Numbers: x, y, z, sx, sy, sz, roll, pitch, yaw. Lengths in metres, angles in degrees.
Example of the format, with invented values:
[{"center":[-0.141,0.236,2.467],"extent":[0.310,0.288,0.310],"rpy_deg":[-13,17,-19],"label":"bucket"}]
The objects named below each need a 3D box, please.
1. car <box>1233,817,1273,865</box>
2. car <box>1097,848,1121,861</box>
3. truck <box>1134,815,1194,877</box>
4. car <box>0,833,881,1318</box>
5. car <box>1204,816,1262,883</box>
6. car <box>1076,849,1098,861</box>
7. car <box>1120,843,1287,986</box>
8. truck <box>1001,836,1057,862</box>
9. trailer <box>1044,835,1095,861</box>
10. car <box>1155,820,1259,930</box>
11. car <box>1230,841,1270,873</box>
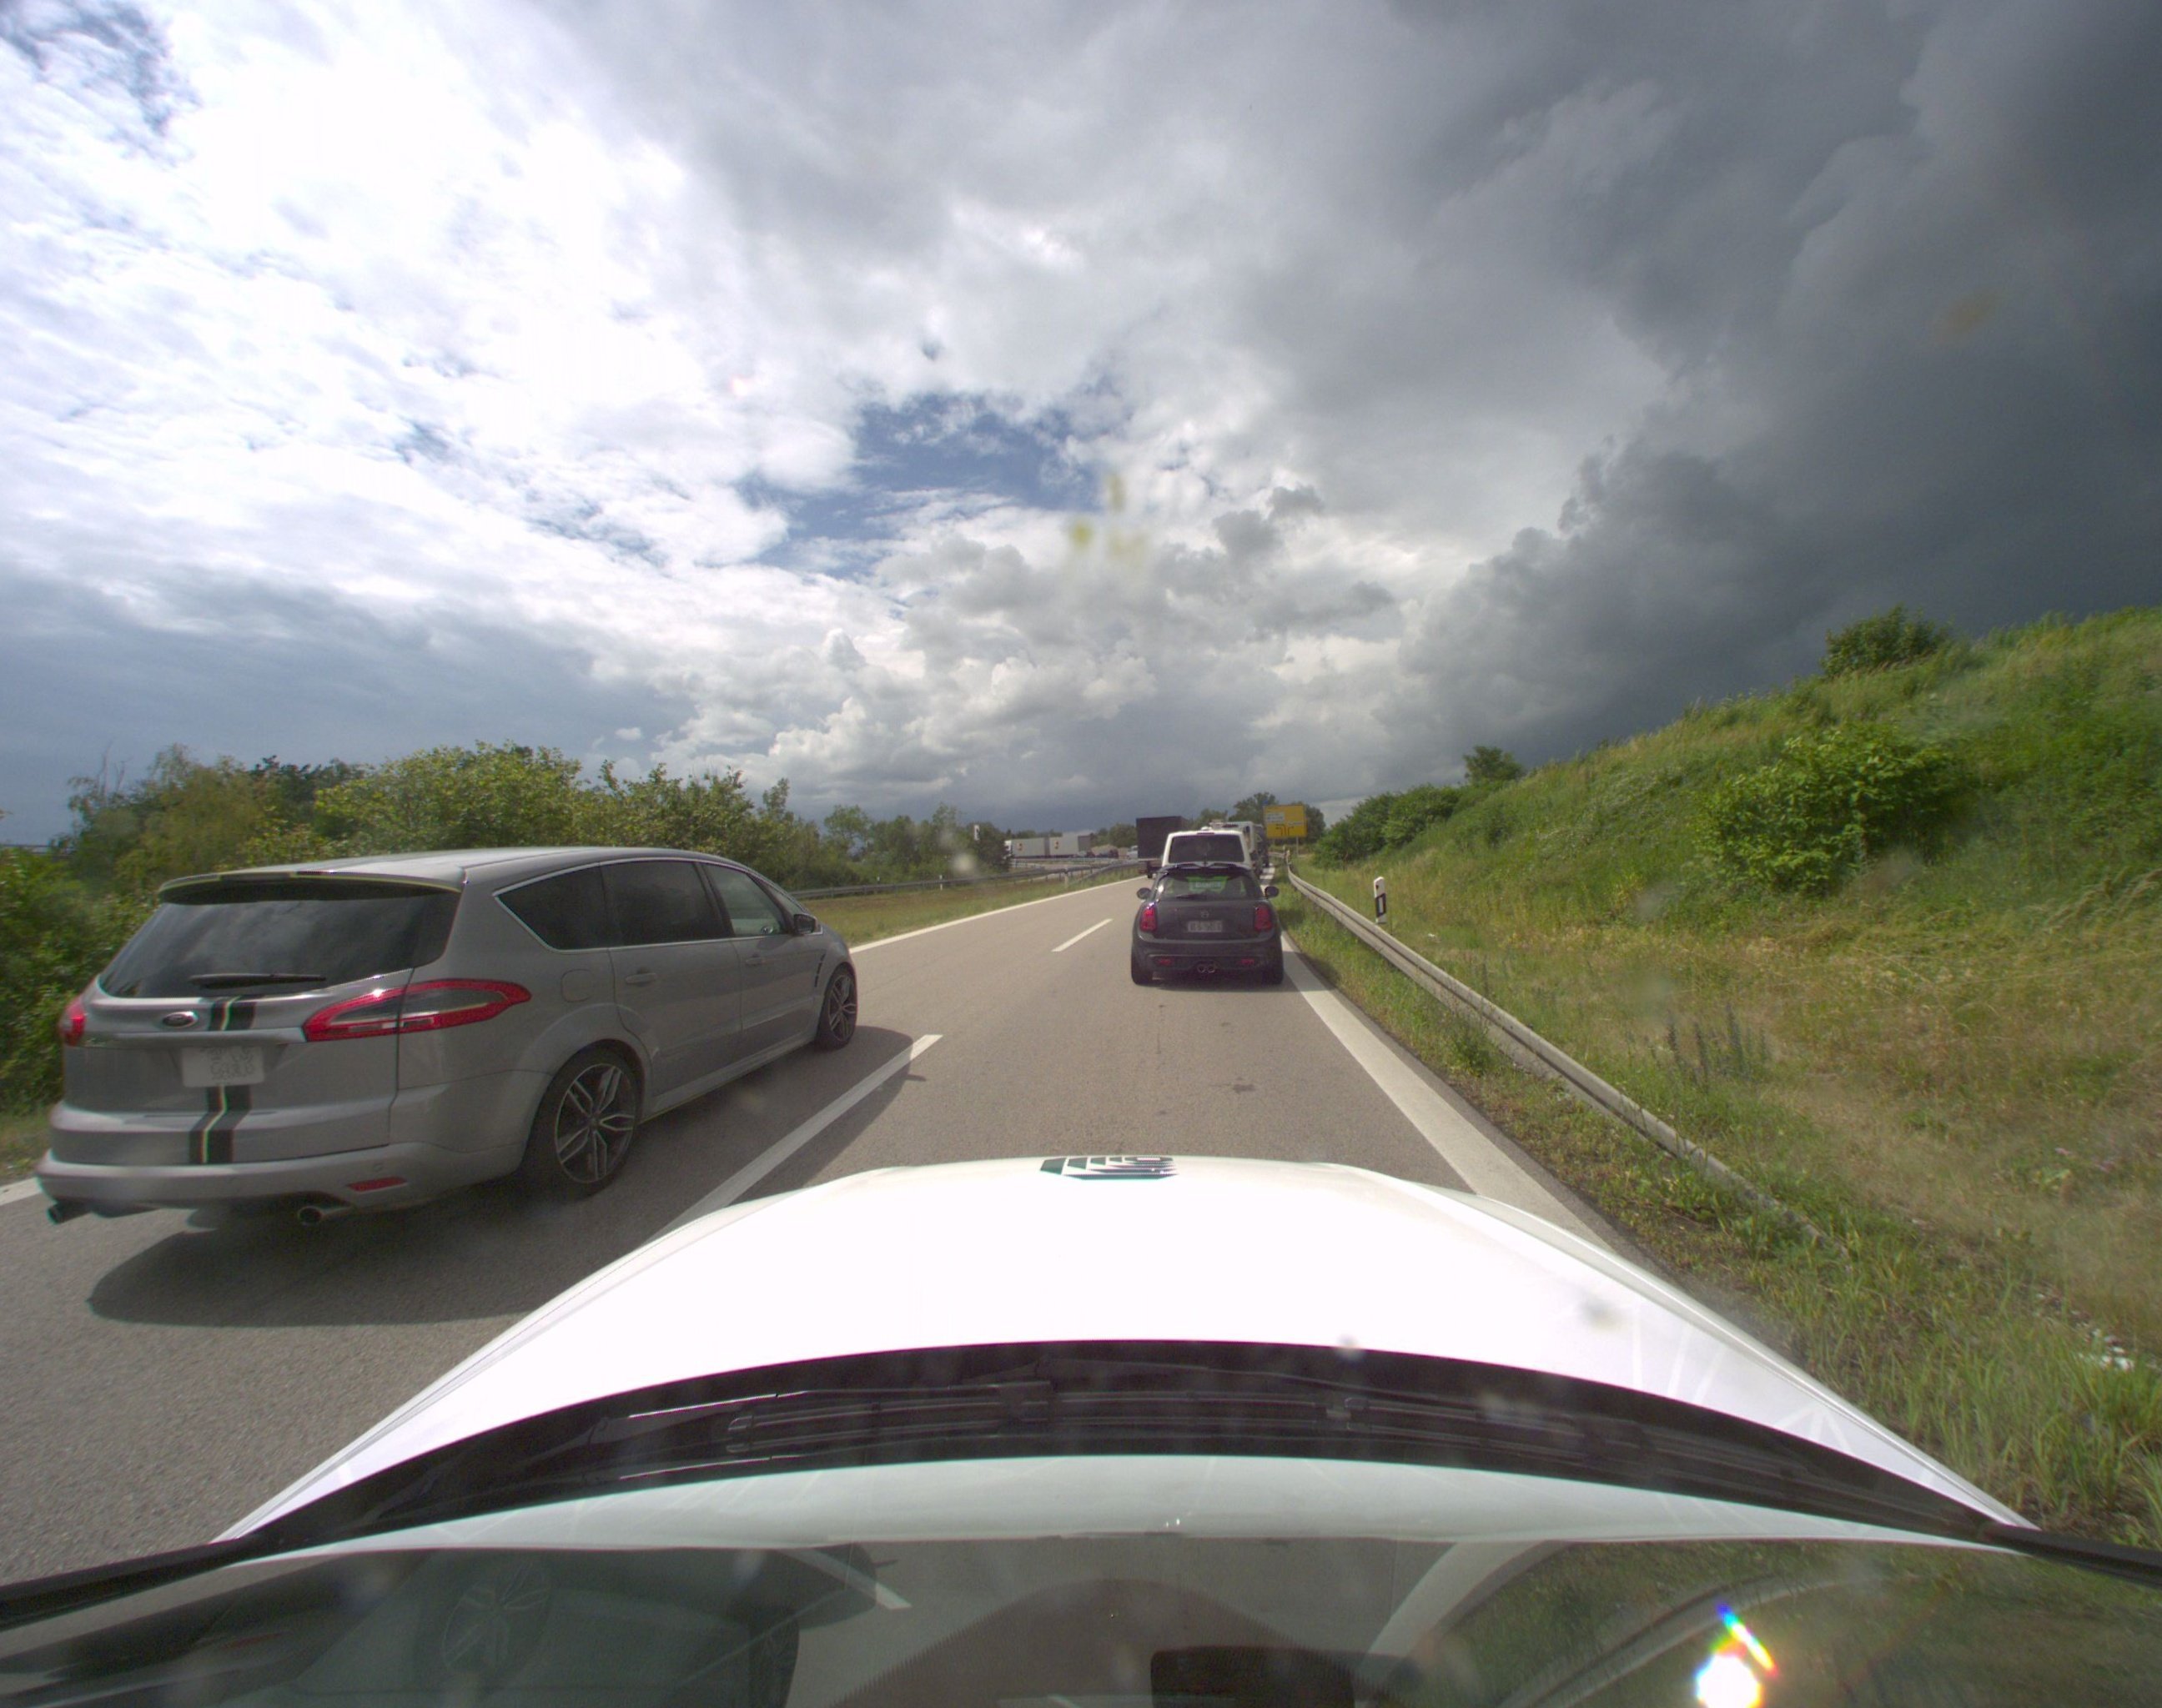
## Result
[{"center":[11.796,-0.807,55.488],"extent":[2.294,3.069,6.688],"rpy_deg":[-1,-1,15],"label":"car"},{"center":[4.189,0.060,122.343],"extent":[1.930,1.838,4.283],"rpy_deg":[0,-1,-24],"label":"car"},{"center":[4.787,-0.377,45.669],"extent":[2.543,3.168,7.491],"rpy_deg":[-1,-1,12],"label":"truck"},{"center":[-3.097,0.787,5.049],"extent":[2.010,1.577,4.596],"rpy_deg":[-3,-1,7],"label":"car"},{"center":[6.594,-0.135,35.029],"extent":[2.197,2.622,5.552],"rpy_deg":[-1,-1,12],"label":"car"},{"center":[0.879,0.153,120.469],"extent":[1.821,1.756,3.968],"rpy_deg":[0,-1,-24],"label":"car"},{"center":[1.605,0.672,10.793],"extent":[1.789,1.546,3.747],"rpy_deg":[-1,0,8],"label":"car"},{"center":[-8.615,-0.738,134.813],"extent":[9.900,3.976,2.863],"rpy_deg":[-1,-1,39],"label":"truck"},{"center":[-1.929,-0.905,128.477],"extent":[3.062,3.898,8.666],"rpy_deg":[1,-1,-42],"label":"trailer"},{"center":[2.748,0.416,17.430],"extent":[1.899,2.045,4.193],"rpy_deg":[-1,-1,10],"label":"car"},{"center":[9.058,0.179,43.589],"extent":[1.980,1.642,3.941],"rpy_deg":[-1,-1,12],"label":"car"}]
